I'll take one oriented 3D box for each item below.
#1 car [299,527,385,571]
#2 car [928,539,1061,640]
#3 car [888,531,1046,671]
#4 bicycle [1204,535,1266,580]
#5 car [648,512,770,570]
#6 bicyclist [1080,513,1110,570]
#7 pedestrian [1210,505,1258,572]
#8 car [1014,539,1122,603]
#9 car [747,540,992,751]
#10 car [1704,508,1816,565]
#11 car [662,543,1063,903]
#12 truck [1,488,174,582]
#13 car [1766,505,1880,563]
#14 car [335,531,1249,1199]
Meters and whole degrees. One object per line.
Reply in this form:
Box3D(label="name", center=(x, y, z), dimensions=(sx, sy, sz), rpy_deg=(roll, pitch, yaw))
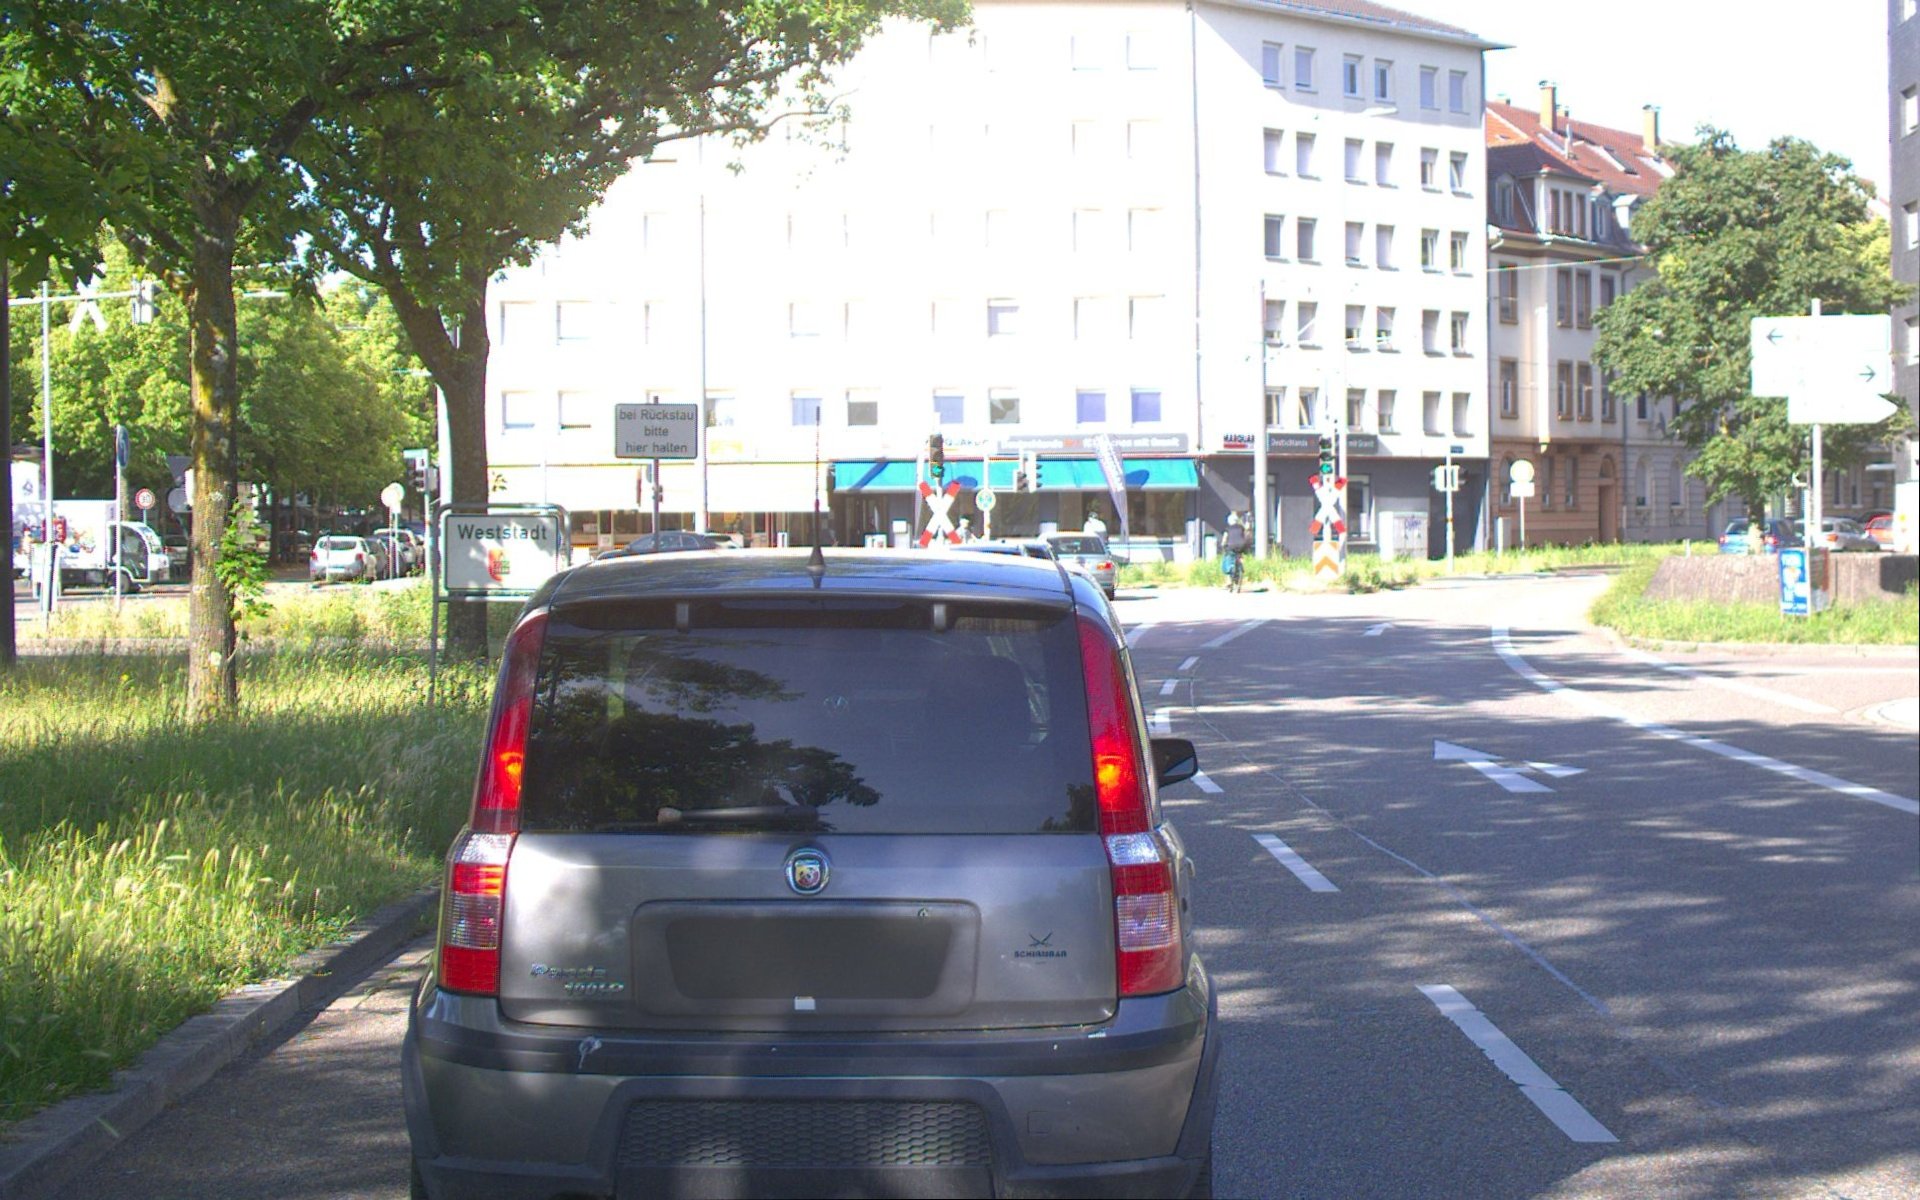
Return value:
Box3D(label="car", center=(-19.415, -1.620, 108.131), dimensions=(1.993, 1.305, 4.000), rpy_deg=(-1, 1, -1))
Box3D(label="car", center=(0.456, -0.169, 45.711), dimensions=(1.690, 1.249, 3.626), rpy_deg=(0, 1, 0))
Box3D(label="car", center=(0.103, -0.027, 37.586), dimensions=(1.646, 1.433, 3.396), rpy_deg=(0, 1, 1))
Box3D(label="bicycle", center=(5.933, -0.922, 74.282), dimensions=(0.782, 0.948, 1.857), rpy_deg=(1, 0, -14))
Box3D(label="car", center=(-6.748, -1.593, 92.203), dimensions=(1.657, 1.496, 3.593), rpy_deg=(-1, 2, -35))
Box3D(label="bicyclist", center=(3.215, -1.390, 81.855), dimensions=(0.530, 1.352, 0.598), rpy_deg=(-1, 1, -16))
Box3D(label="pedestrian", center=(5.924, -1.331, 74.345), dimensions=(0.773, 1.423, 0.939), rpy_deg=(1, 0, -14))
Box3D(label="car", center=(2.171, -0.617, 70.009), dimensions=(1.993, 1.238, 4.000), rpy_deg=(0, 1, -1))
Box3D(label="car", center=(-0.721, 0.293, 27.032), dimensions=(1.760, 1.481, 4.294), rpy_deg=(-1, 1, -2))
Box3D(label="car", center=(21.044, -1.680, 90.351), dimensions=(1.778, 1.437, 3.612), rpy_deg=(1, 2, 32))
Box3D(label="car", center=(-0.418, 0.471, 15.851), dimensions=(1.621, 1.424, 3.688), rpy_deg=(-1, 1, -1))
Box3D(label="truck", center=(-22.830, -1.702, 90.076), dimensions=(4.096, 2.418, 1.794), rpy_deg=(0, 1, -3))
Box3D(label="car", center=(23.742, -1.823, 94.478), dimensions=(1.823, 1.503, 3.993), rpy_deg=(0, 2, 33))
Box3D(label="car", center=(-0.276, 0.610, 7.911), dimensions=(1.660, 1.505, 3.251), rpy_deg=(-1, 1, 1))
